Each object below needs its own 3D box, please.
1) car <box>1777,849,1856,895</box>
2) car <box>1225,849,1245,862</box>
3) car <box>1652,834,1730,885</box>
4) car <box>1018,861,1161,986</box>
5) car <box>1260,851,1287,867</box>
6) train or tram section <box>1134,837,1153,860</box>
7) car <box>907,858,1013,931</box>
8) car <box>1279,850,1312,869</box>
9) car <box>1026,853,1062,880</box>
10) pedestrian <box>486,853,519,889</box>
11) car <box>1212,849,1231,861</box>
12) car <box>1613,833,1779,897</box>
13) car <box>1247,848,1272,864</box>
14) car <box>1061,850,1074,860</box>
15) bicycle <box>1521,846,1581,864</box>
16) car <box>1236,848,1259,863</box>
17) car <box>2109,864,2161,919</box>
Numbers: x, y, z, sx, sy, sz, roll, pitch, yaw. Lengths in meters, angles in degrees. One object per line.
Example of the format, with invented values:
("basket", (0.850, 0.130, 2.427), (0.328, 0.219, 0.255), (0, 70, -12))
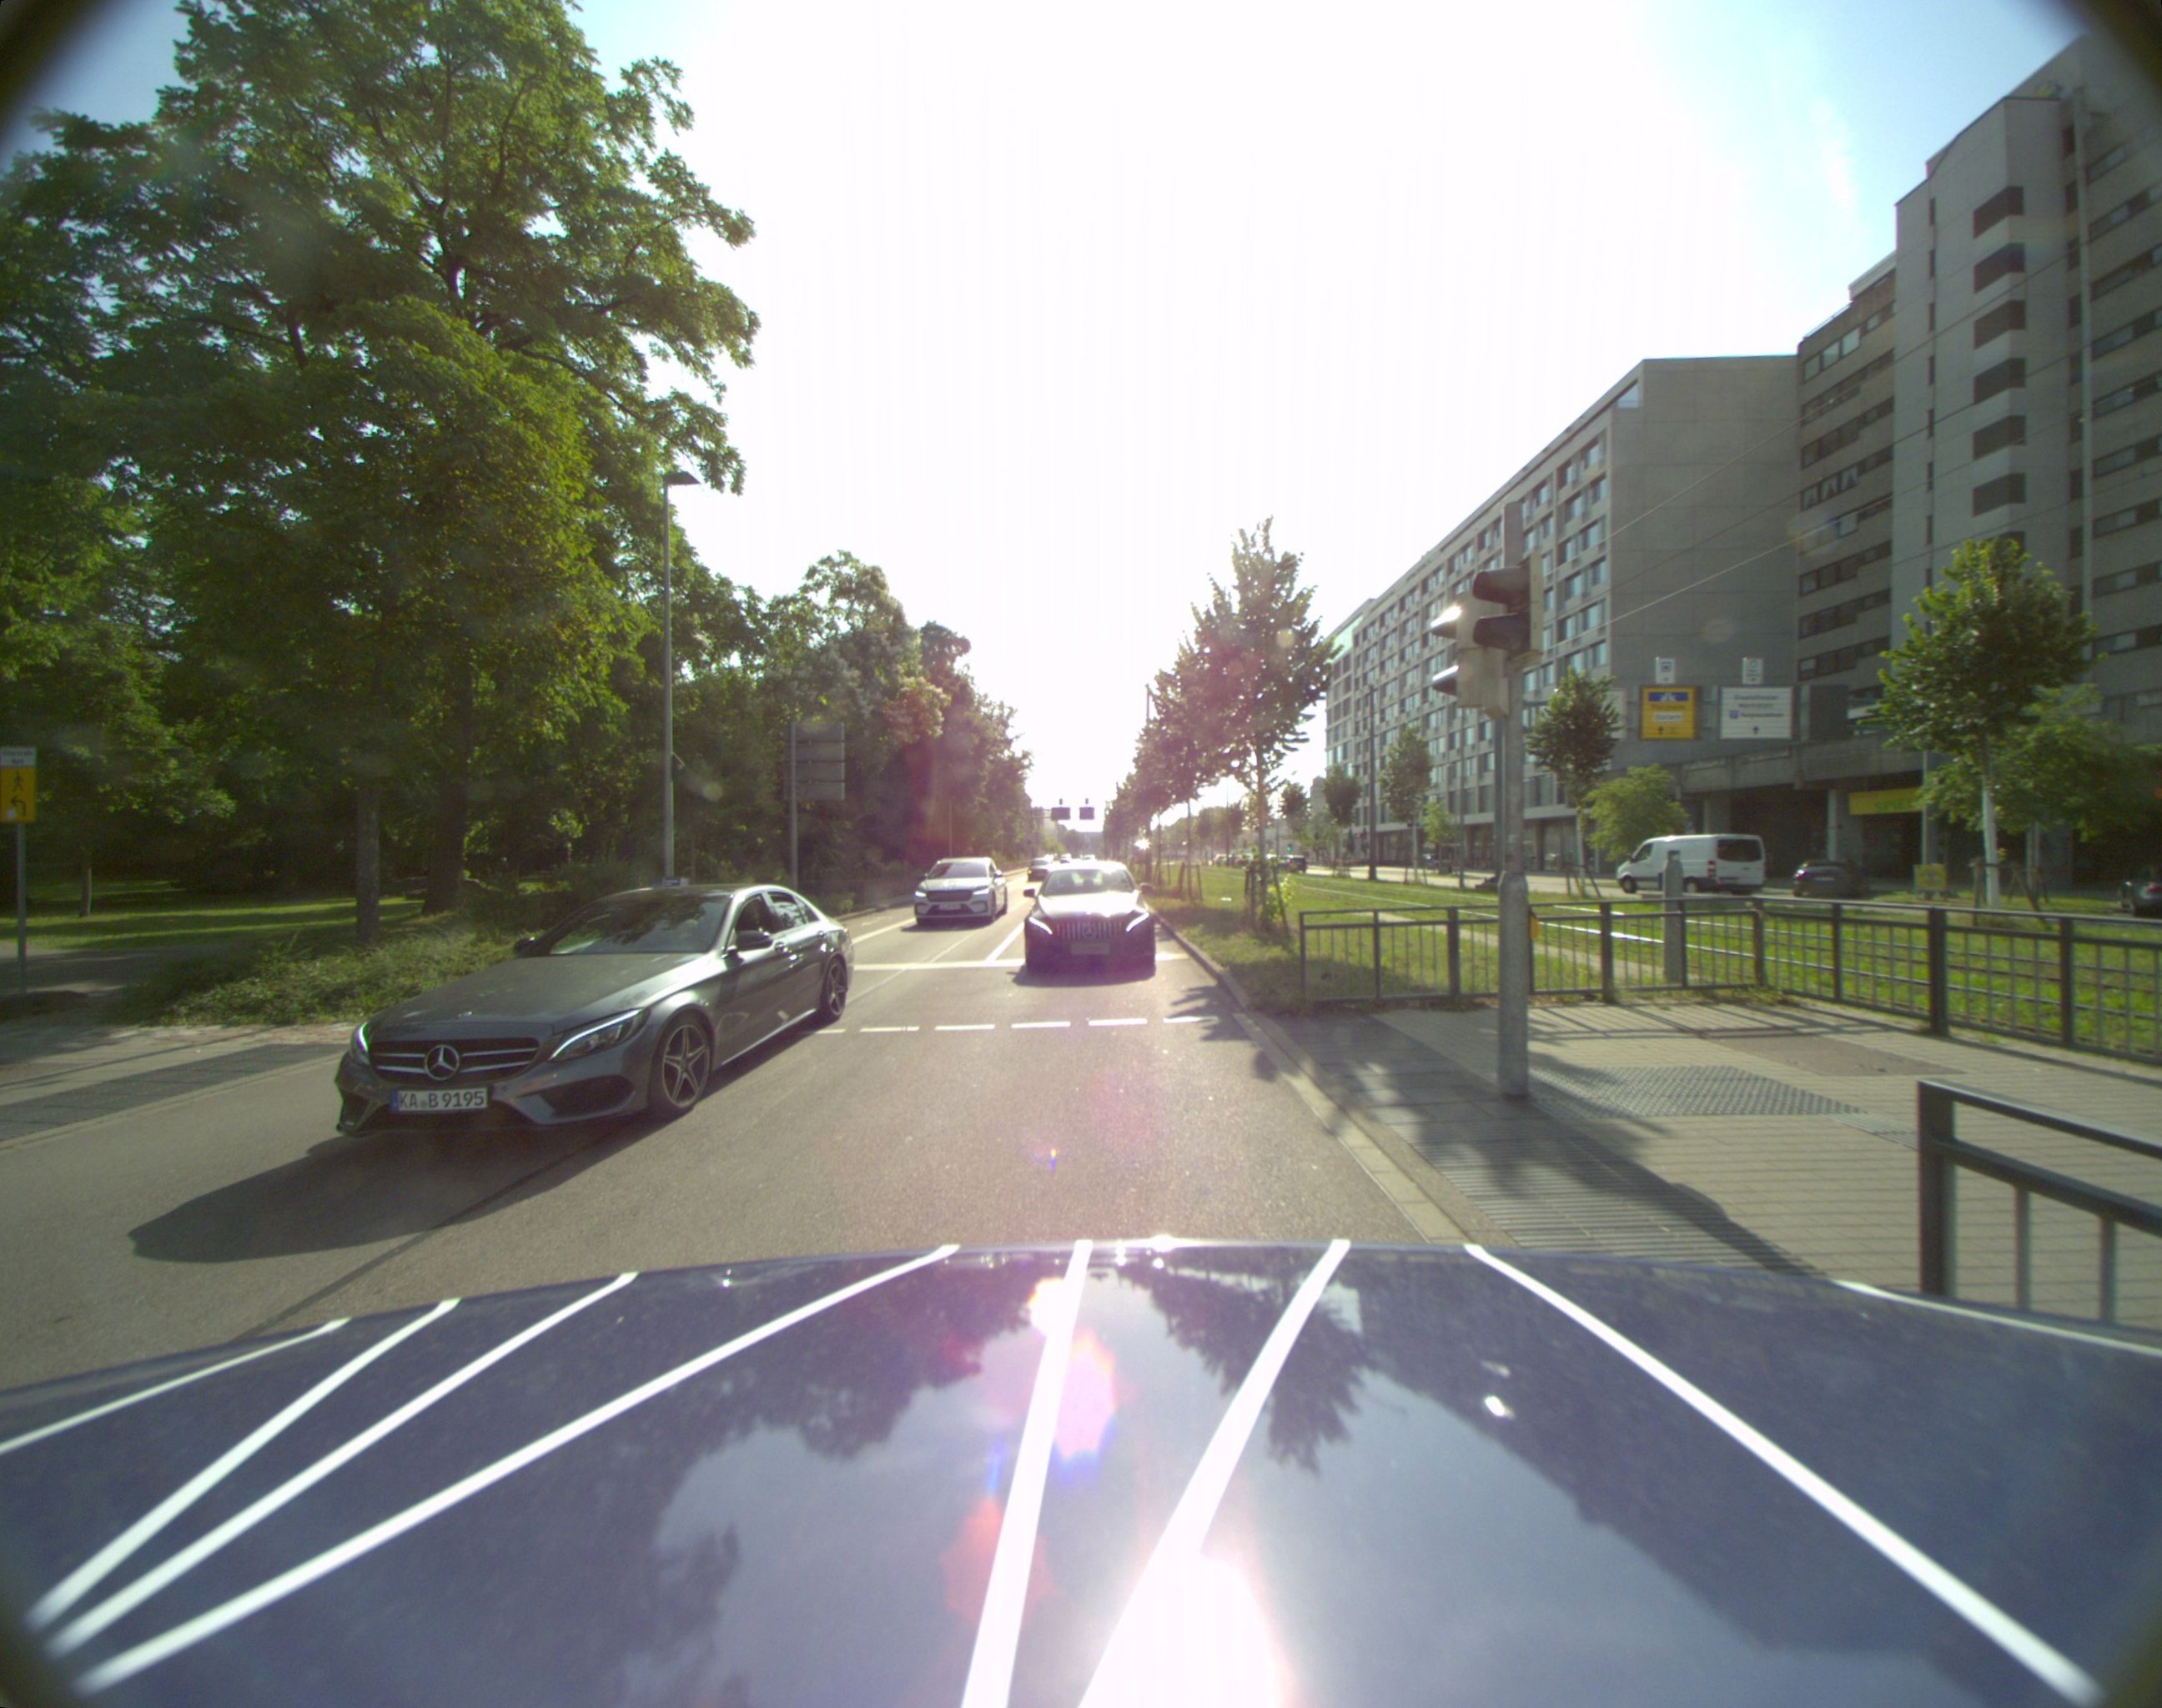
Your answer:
("car", (29.116, 0.688, 30.092), (2.097, 1.573, 4.008), (-3, 0, 44))
("car", (18.315, 0.186, 90.484), (1.811, 1.466, 4.001), (0, 0, 3))
("car", (29.701, 0.217, 36.923), (5.419, 2.295, 1.879), (-1, 1, -39))
("car", (0.160, 0.916, 12.029), (1.759, 1.437, 4.618), (-3, 0, 1))
("car", (18.069, 0.472, 71.527), (1.745, 1.478, 3.642), (-1, 1, 3))
("train or tram section", (9.412, -0.795, 114.065), (2.500, 3.409, 6.669), (0, 0, 2))
("car", (-2.974, 0.945, 19.564), (1.897, 1.561, 4.250), (-2, 0, 1))
("car", (17.907, 0.428, 63.679), (1.811, 1.472, 4.001), (0, 0, 3))
("car", (-2.283, 0.744, 48.147), (1.998, 1.630, 4.000), (-1, 0, 1))
("pedestrian", (-30.589, 0.884, 40.211), (0.983, 1.820, 1.072), (0, 1, 31))
("car", (18.388, 0.130, 99.366), (1.787, 1.516, 4.000), (0, 0, 1))
("car", (23.361, 0.384, 29.227), (2.051, 2.225, 5.334), (-1, 0, 0))
("car", (18.241, 0.213, 77.907), (1.811, 1.565, 4.001), (0, 0, 3))
("car", (-2.192, 0.228, 123.281), (1.904, 1.584, 4.000), (0, 0, 1))
("bicycle", (37.885, 0.091, 61.276), (3.994, 1.358, 1.127), (0, 1, 10))
("car", (18.274, 0.151, 83.385), (1.811, 1.565, 4.001), (0, 0, 3))
("car", (29.233, 0.962, 20.326), (4.119, 1.237, 1.874), (-3, 1, -39))
